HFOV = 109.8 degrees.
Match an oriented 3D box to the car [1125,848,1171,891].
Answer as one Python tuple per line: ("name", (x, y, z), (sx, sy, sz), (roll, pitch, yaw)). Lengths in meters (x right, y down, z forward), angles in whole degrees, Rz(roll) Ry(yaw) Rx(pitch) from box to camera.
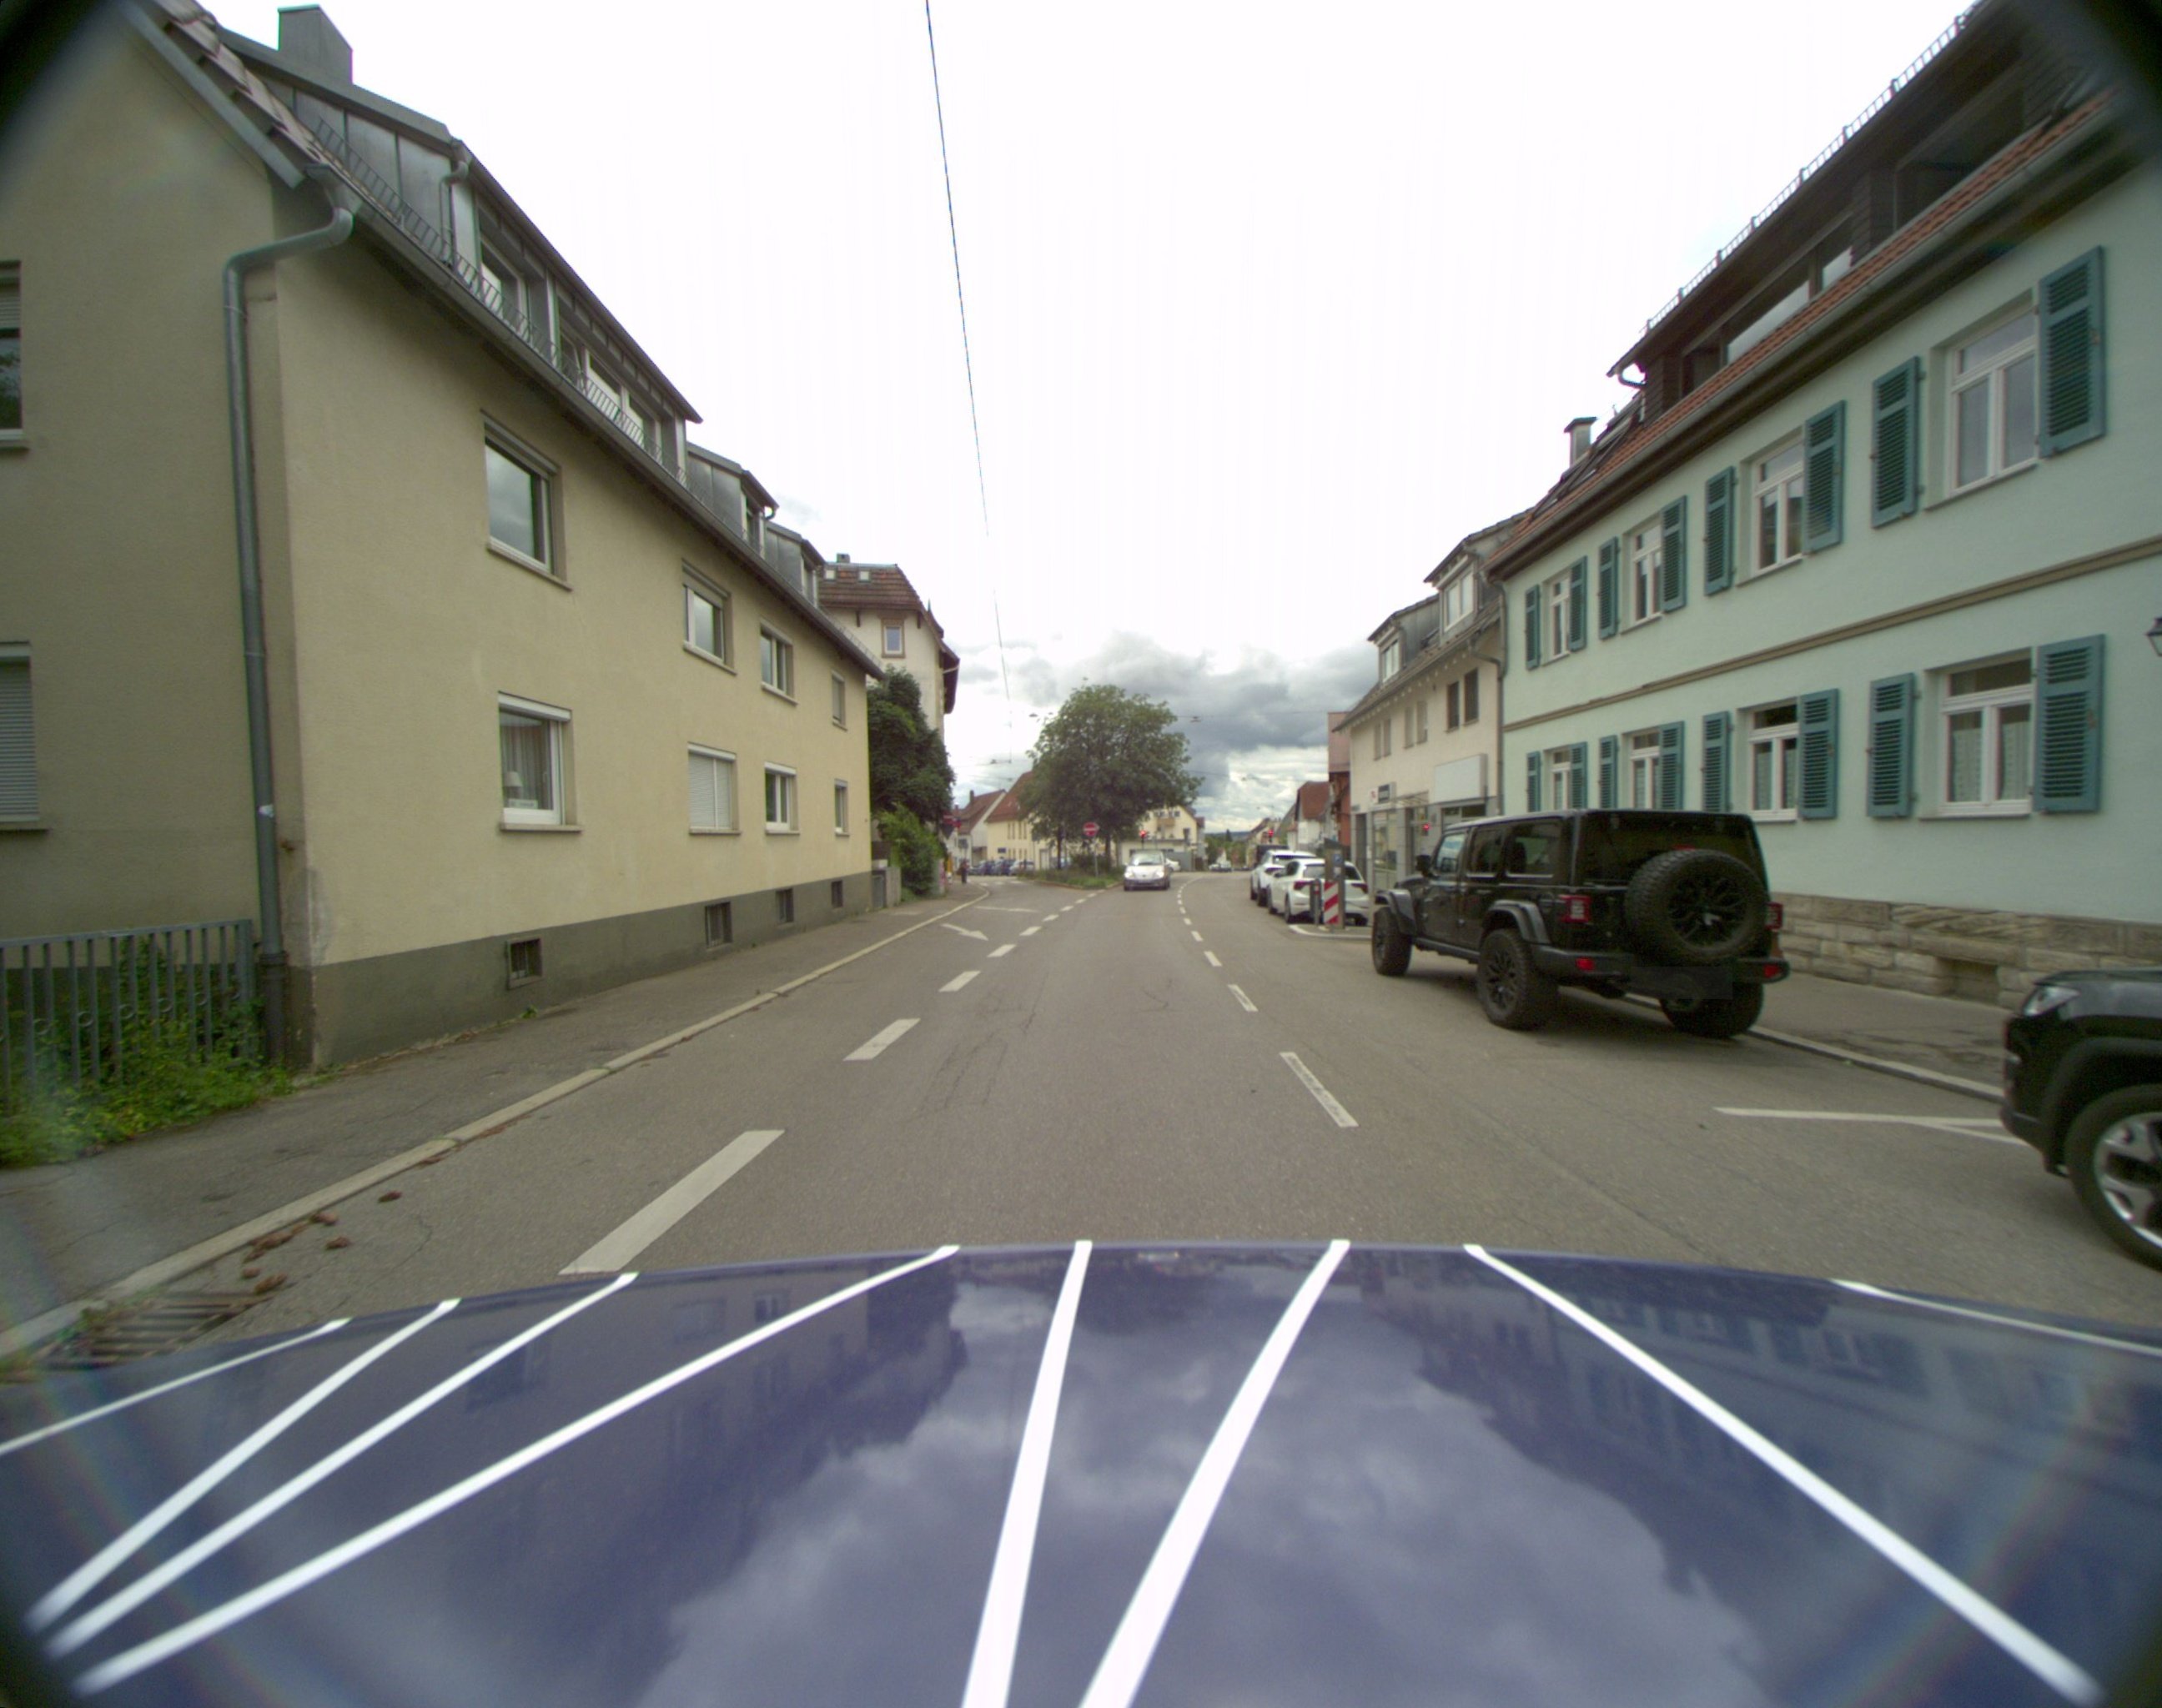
("car", (2.808, 0.649, 31.550), (1.720, 1.586, 4.002), (-2, -1, 5))

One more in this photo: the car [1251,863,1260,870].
("car", (39.226, 2.792, 170.883), (1.704, 1.523, 3.739), (2, 0, 9))

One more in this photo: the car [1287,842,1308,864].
("car", (21.265, -0.081, 74.567), (1.814, 1.994, 4.770), (2, 0, 18))

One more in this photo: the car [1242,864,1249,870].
("car", (44.999, 3.439, 207.800), (1.704, 1.523, 3.739), (2, 0, 9))

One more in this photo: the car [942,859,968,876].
("car", (-12.207, 1.335, 73.525), (1.777, 1.470, 3.824), (1, -2, -20))

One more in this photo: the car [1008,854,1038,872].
("car", (-5.782, 0.890, 75.441), (1.777, 1.608, 3.994), (-2, -1, -21))

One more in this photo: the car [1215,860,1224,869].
("car", (26.212, 1.988, 144.078), (1.612, 1.446, 3.862), (-2, -1, 8))

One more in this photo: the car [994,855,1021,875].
("car", (-7.896, 1.214, 81.586), (1.777, 1.931, 4.317), (1, -2, -21))

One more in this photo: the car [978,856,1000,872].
("car", (-10.724, 1.215, 88.313), (1.724, 1.720, 3.994), (-2, -1, -20))

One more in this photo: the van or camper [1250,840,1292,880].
("van or camper", (10.467, 0.255, 41.660), (2.076, 1.994, 4.862), (2, 2, 15))

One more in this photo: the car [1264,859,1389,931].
("car", (5.589, 0.871, 17.805), (2.002, 1.428, 3.920), (-1, 0, 6))

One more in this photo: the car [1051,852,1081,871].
("car", (-1.637, 0.839, 79.145), (1.903, 1.791, 4.888), (-2, -1, -15))

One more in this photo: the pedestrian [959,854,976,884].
("pedestrian", (-6.822, 0.896, 45.570), (0.861, 1.722, 1.021), (-2, -1, -12))

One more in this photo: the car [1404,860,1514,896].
("car", (16.163, 1.012, 32.693), (3.991, 1.466, 1.745), (0, 1, 17))

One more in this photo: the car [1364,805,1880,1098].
("car", (4.653, 0.676, 7.677), (1.998, 2.002, 4.671), (2, 0, 3))

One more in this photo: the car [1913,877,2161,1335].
("car", (4.788, 0.885, 1.242), (1.901, 1.609, 4.525), (1, -1, 0))

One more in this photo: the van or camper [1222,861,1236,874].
("van or camper", (24.976, 2.240, 128.248), (1.997, 2.001, 5.068), (-3, -1, 8))

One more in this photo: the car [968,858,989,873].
("car", (-12.675, 1.469, 93.671), (1.724, 1.720, 3.994), (-2, -1, -20))

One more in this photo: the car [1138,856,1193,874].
("car", (7.387, 0.940, 66.827), (4.565, 1.436, 2.000), (1, 0, 0))

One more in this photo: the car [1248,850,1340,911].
("car", (6.253, 0.703, 22.861), (2.001, 1.623, 4.860), (-1, 0, 8))
